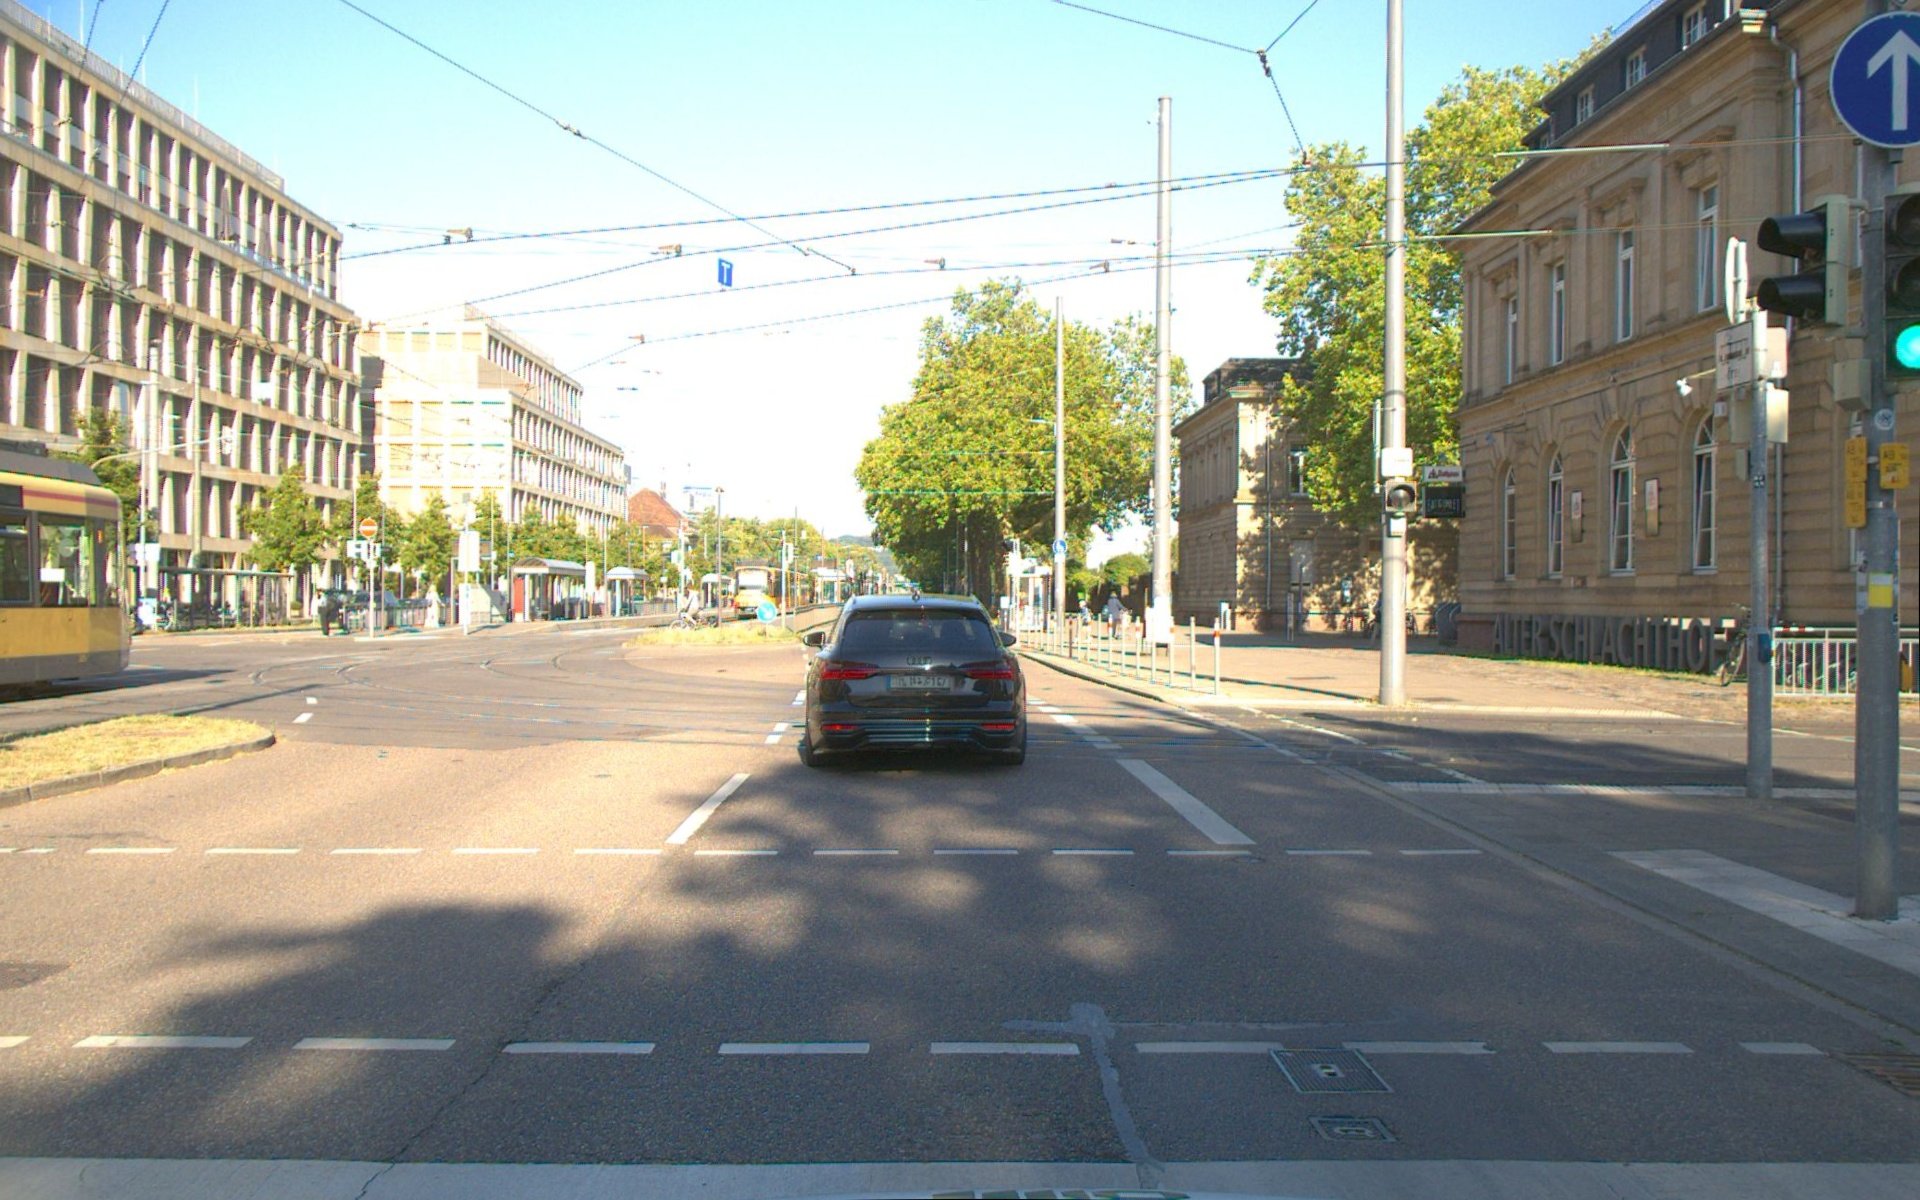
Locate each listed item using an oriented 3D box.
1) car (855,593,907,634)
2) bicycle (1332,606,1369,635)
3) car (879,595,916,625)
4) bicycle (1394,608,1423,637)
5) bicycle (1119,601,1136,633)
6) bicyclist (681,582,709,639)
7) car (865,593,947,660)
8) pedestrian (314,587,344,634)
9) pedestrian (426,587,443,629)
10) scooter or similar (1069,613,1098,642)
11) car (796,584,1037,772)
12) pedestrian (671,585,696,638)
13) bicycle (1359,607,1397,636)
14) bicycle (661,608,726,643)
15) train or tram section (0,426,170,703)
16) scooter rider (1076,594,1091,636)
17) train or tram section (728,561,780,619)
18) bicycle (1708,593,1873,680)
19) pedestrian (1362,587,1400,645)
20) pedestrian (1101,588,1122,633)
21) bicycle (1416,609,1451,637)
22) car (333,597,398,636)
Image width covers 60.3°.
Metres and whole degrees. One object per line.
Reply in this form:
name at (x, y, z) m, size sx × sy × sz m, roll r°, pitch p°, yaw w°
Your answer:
car at (-2.964, 0.502, 63.052) m, size 1.864 × 1.512 × 4.143 m, roll 0°, pitch 0°, yaw -1°
bicycle at (14.963, 0.781, 63.389) m, size 0.516 × 1.065 × 2.354 m, roll 0°, pitch 0°, yaw -10°
car at (-3.219, 0.490, 86.020) m, size 1.864 × 1.512 × 4.143 m, roll 0°, pitch 0°, yaw -1°
bicycle at (17.351, 0.857, 63.978) m, size 0.515 × 1.065 × 2.230 m, roll 0°, pitch 0°, yaw 0°
bicycle at (6.255, 0.615, 61.777) m, size 0.426 × 1.165 × 1.339 m, roll 0°, pitch 0°, yaw -3°
bicyclist at (-8.697, 0.326, 54.229) m, size 0.746 × 1.850 × 0.759 m, roll 0°, pitch 0°, yaw -23°
car at (-1.268, 0.594, 39.685) m, size 1.864 × 1.512 × 4.143 m, roll 0°, pitch 0°, yaw -1°
pedestrian at (-21.087, 0.341, 55.254) m, size 0.741 × 1.559 × 0.624 m, roll 0°, pitch 0°, yaw 2°
pedestrian at (-21.025, 0.317, 66.189) m, size 0.610 × 1.693 × 0.510 m, roll 0°, pitch 0°, yaw -27°
scooter or similar at (4.231, 0.938, 56.760) m, size 0.920 × 0.983 × 0.361 m, roll -1°, pitch -1°, yaw -4°
car at (-0.376, 0.598, 14.898) m, size 1.864 × 1.446 × 4.143 m, roll 0°, pitch 0°, yaw -1°
pedestrian at (-9.316, 0.377, 55.780) m, size 0.729 × 1.772 × 0.660 m, roll 0°, pitch 0°, yaw -19°
bicycle at (16.006, 0.811, 63.403) m, size 0.516 × 1.065 × 2.354 m, roll 0°, pitch 0°, yaw -10°
bicycle at (-8.724, 0.828, 54.122) m, size 1.978 × 1.127 × 0.759 m, roll 0°, pitch 0°, yaw -23°
train or tram section at (-13.653, -0.456, 19.903) m, size 2.756 × 3.550 × 12.150 m, roll 0°, pitch 0°, yaw -2°
scooter rider at (4.236, 0.515, 56.766) m, size 0.475 × 1.410 × 0.377 m, roll -1°, pitch -1°, yaw -4°
train or tram section at (-13.175, -0.629, 106.586) m, size 2.557 × 3.511 × 11.125 m, roll 0°, pitch 0°, yaw -3°
bicycle at (12.360, 0.534, 24.649) m, size 2.094 × 1.230 × 0.765 m, roll -1°, pitch 0°, yaw -4°
pedestrian at (13.974, 0.512, 54.894) m, size 0.962 × 1.898 × 0.824 m, roll 0°, pitch 0°, yaw -14°
pedestrian at (5.645, 0.387, 61.732) m, size 0.668 × 1.690 × 0.758 m, roll 0°, pitch 0°, yaw -4°
bicycle at (18.384, 0.890, 64.222) m, size 0.515 × 1.065 × 2.228 m, roll 0°, pitch 0°, yaw -6°
car at (-28.735, 0.760, 80.058) m, size 1.805 × 1.844 × 4.111 m, roll 0°, pitch 0°, yaw -2°
